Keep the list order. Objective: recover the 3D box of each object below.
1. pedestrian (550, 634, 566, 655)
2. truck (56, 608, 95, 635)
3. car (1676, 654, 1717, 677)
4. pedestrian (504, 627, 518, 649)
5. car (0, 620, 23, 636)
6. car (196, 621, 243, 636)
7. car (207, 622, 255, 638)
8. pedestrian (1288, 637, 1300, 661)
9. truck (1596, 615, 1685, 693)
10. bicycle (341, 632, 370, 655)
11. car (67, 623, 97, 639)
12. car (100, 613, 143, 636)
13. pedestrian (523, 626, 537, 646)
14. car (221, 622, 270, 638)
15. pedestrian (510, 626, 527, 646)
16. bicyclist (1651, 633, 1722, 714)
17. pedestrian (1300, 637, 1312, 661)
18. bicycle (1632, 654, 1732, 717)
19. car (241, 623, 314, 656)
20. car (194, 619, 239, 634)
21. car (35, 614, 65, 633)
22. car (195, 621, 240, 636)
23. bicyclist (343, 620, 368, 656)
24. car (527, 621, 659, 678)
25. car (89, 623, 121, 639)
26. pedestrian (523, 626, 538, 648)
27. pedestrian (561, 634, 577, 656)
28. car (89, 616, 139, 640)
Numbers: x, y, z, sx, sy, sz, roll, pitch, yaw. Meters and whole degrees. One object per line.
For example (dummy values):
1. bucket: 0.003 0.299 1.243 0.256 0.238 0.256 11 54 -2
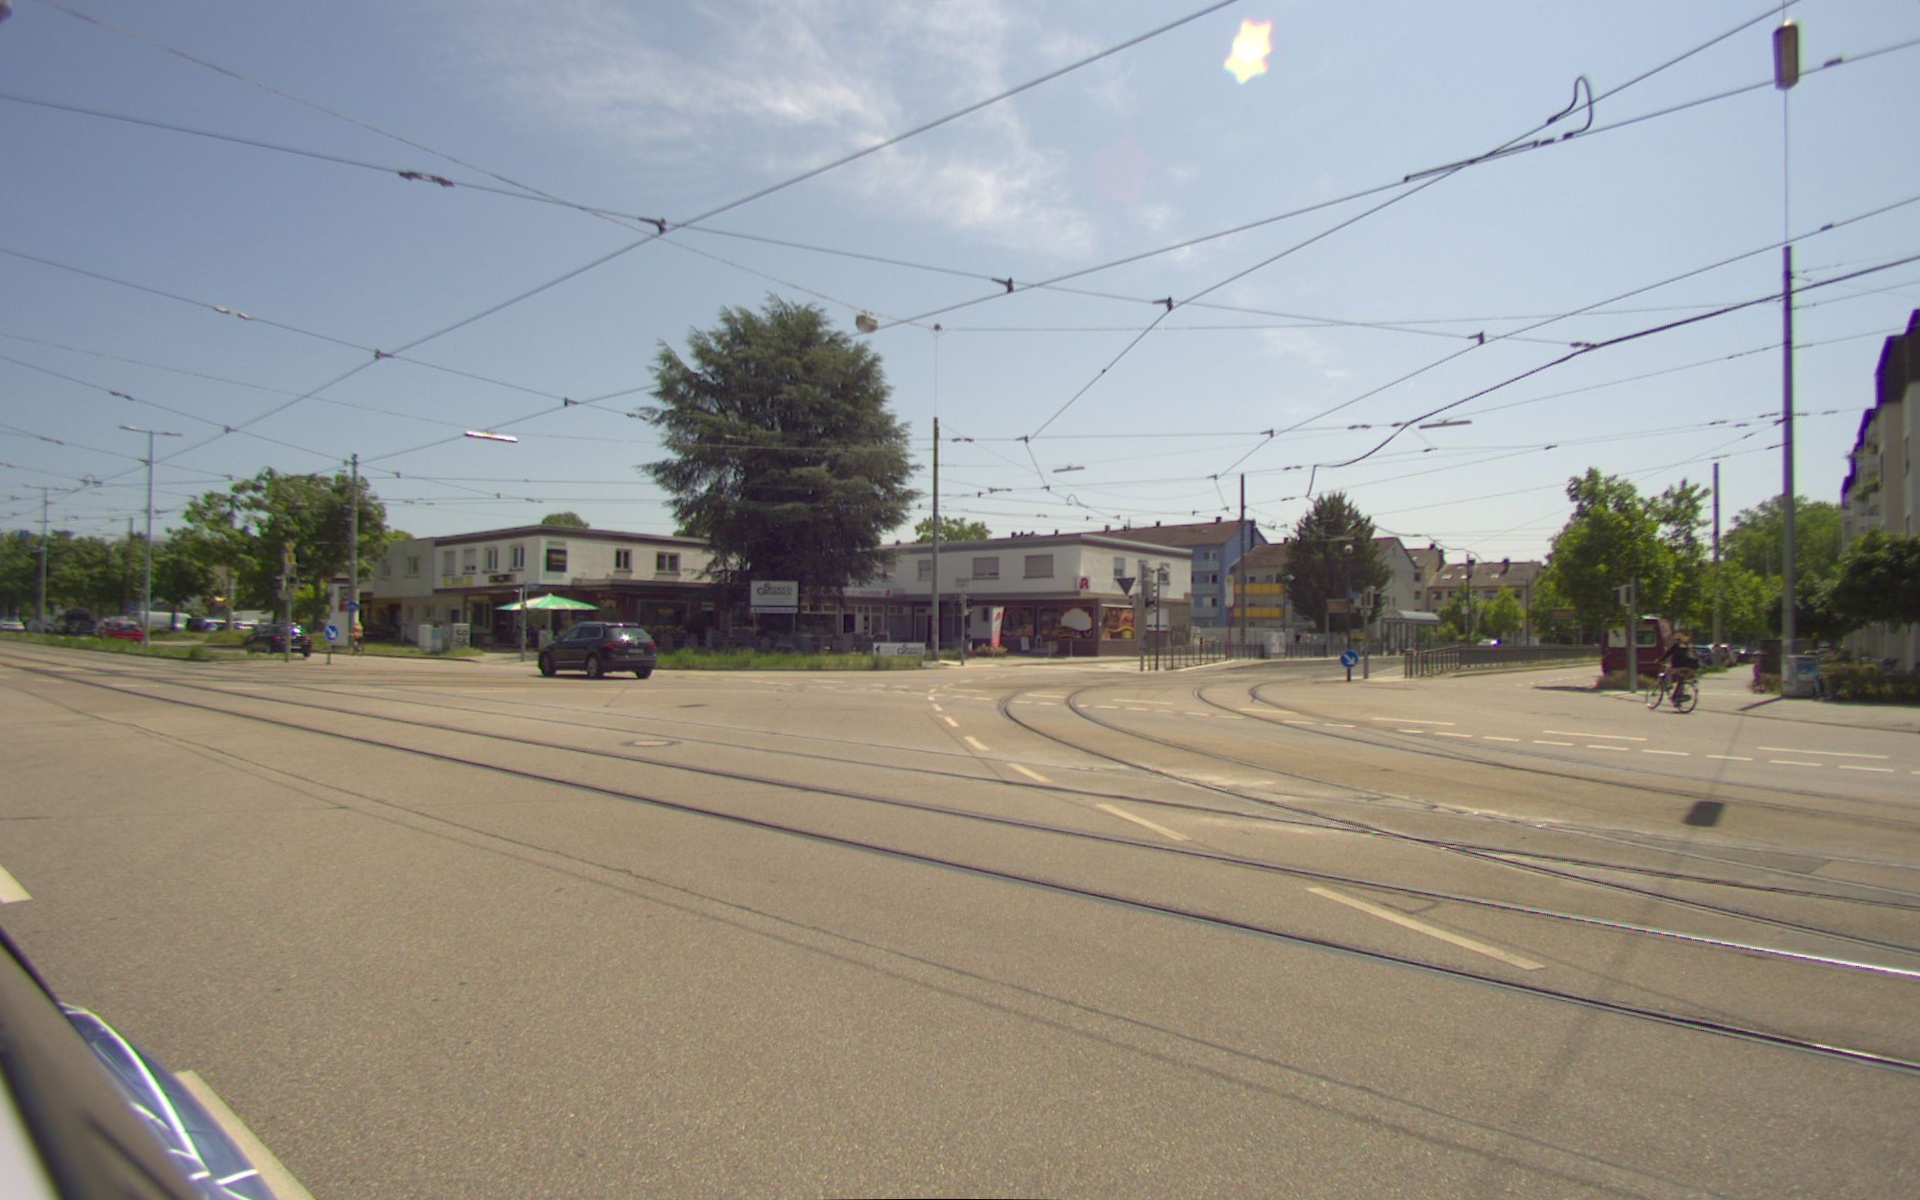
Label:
1. pedestrian: -21.942 2.407 55.218 0.674 1.136 0.512 -1 -3 40
2. truck: -87.035 2.098 99.579 4.926 2.561 2.196 -1 -3 41
3. car: 42.478 3.780 58.341 1.589 1.249 3.532 -1 -3 41
4. pedestrian: -25.724 2.191 57.998 0.491 1.248 0.569 -1 -3 40
5. car: -91.501 2.667 96.819 4.131 1.564 1.975 -1 -3 36
6. car: -73.400 2.877 100.347 1.600 1.404 3.375 -1 -3 35
7. car: -69.548 2.882 96.607 1.600 1.404 3.375 -1 -3 35
8. pedestrian: 26.743 3.894 81.054 0.679 1.917 0.640 -1 -3 40
9. truck: 25.502 1.988 37.861 2.186 2.719 4.974 -1 -3 40
10. bicycle: -30.901 2.241 51.724 1.930 1.157 0.687 -2 -4 40
11. car: -82.787 2.927 95.424 3.669 1.397 1.653 -1 -3 42
12. car: -70.319 2.063 84.883 4.659 1.898 1.973 -1 -3 41
13. pedestrian: -25.304 2.137 59.559 0.674 1.172 0.512 -1 -3 40
14. car: -67.465 2.816 95.582 1.600 1.404 3.375 -1 -3 35
15. pedestrian: -25.736 2.090 58.962 0.810 1.136 0.558 -1 -3 40
16. bicyclist: 16.367 1.643 22.832 0.724 1.776 1.135 2 -3 -3
17. pedestrian: 27.499 3.892 80.456 0.679 1.917 0.640 -1 -3 40
18. bicycle: 16.358 1.908 23.001 0.669 1.314 2.106 2 -2 -3
19. car: -31.370 1.813 46.486 3.860 1.449 1.693 -1 -3 39
20. car: -76.942 2.775 104.785 1.600 1.517 3.375 -1 -3 35
21. car: -97.706 2.489 108.662 4.505 1.989 1.660 -1 -3 40
22. car: -75.277 2.892 102.617 1.600 1.404 3.375 -1 -3 35
23. bicyclist: -30.935 1.945 51.776 1.136 1.779 0.687 -2 -4 40
24. car: -10.996 1.447 30.181 4.494 1.591 1.774 -1 -3 42
25. car: -75.215 2.710 89.022 3.568 1.397 1.653 -1 -3 42
26. pedestrian: -24.732 2.123 58.225 0.674 1.208 0.512 -1 -3 40
27. pedestrian: -20.923 2.394 54.125 0.674 1.136 0.512 -1 -3 40
28. car: -55.511 1.814 66.406 3.821 1.495 1.609 -1 -3 36
